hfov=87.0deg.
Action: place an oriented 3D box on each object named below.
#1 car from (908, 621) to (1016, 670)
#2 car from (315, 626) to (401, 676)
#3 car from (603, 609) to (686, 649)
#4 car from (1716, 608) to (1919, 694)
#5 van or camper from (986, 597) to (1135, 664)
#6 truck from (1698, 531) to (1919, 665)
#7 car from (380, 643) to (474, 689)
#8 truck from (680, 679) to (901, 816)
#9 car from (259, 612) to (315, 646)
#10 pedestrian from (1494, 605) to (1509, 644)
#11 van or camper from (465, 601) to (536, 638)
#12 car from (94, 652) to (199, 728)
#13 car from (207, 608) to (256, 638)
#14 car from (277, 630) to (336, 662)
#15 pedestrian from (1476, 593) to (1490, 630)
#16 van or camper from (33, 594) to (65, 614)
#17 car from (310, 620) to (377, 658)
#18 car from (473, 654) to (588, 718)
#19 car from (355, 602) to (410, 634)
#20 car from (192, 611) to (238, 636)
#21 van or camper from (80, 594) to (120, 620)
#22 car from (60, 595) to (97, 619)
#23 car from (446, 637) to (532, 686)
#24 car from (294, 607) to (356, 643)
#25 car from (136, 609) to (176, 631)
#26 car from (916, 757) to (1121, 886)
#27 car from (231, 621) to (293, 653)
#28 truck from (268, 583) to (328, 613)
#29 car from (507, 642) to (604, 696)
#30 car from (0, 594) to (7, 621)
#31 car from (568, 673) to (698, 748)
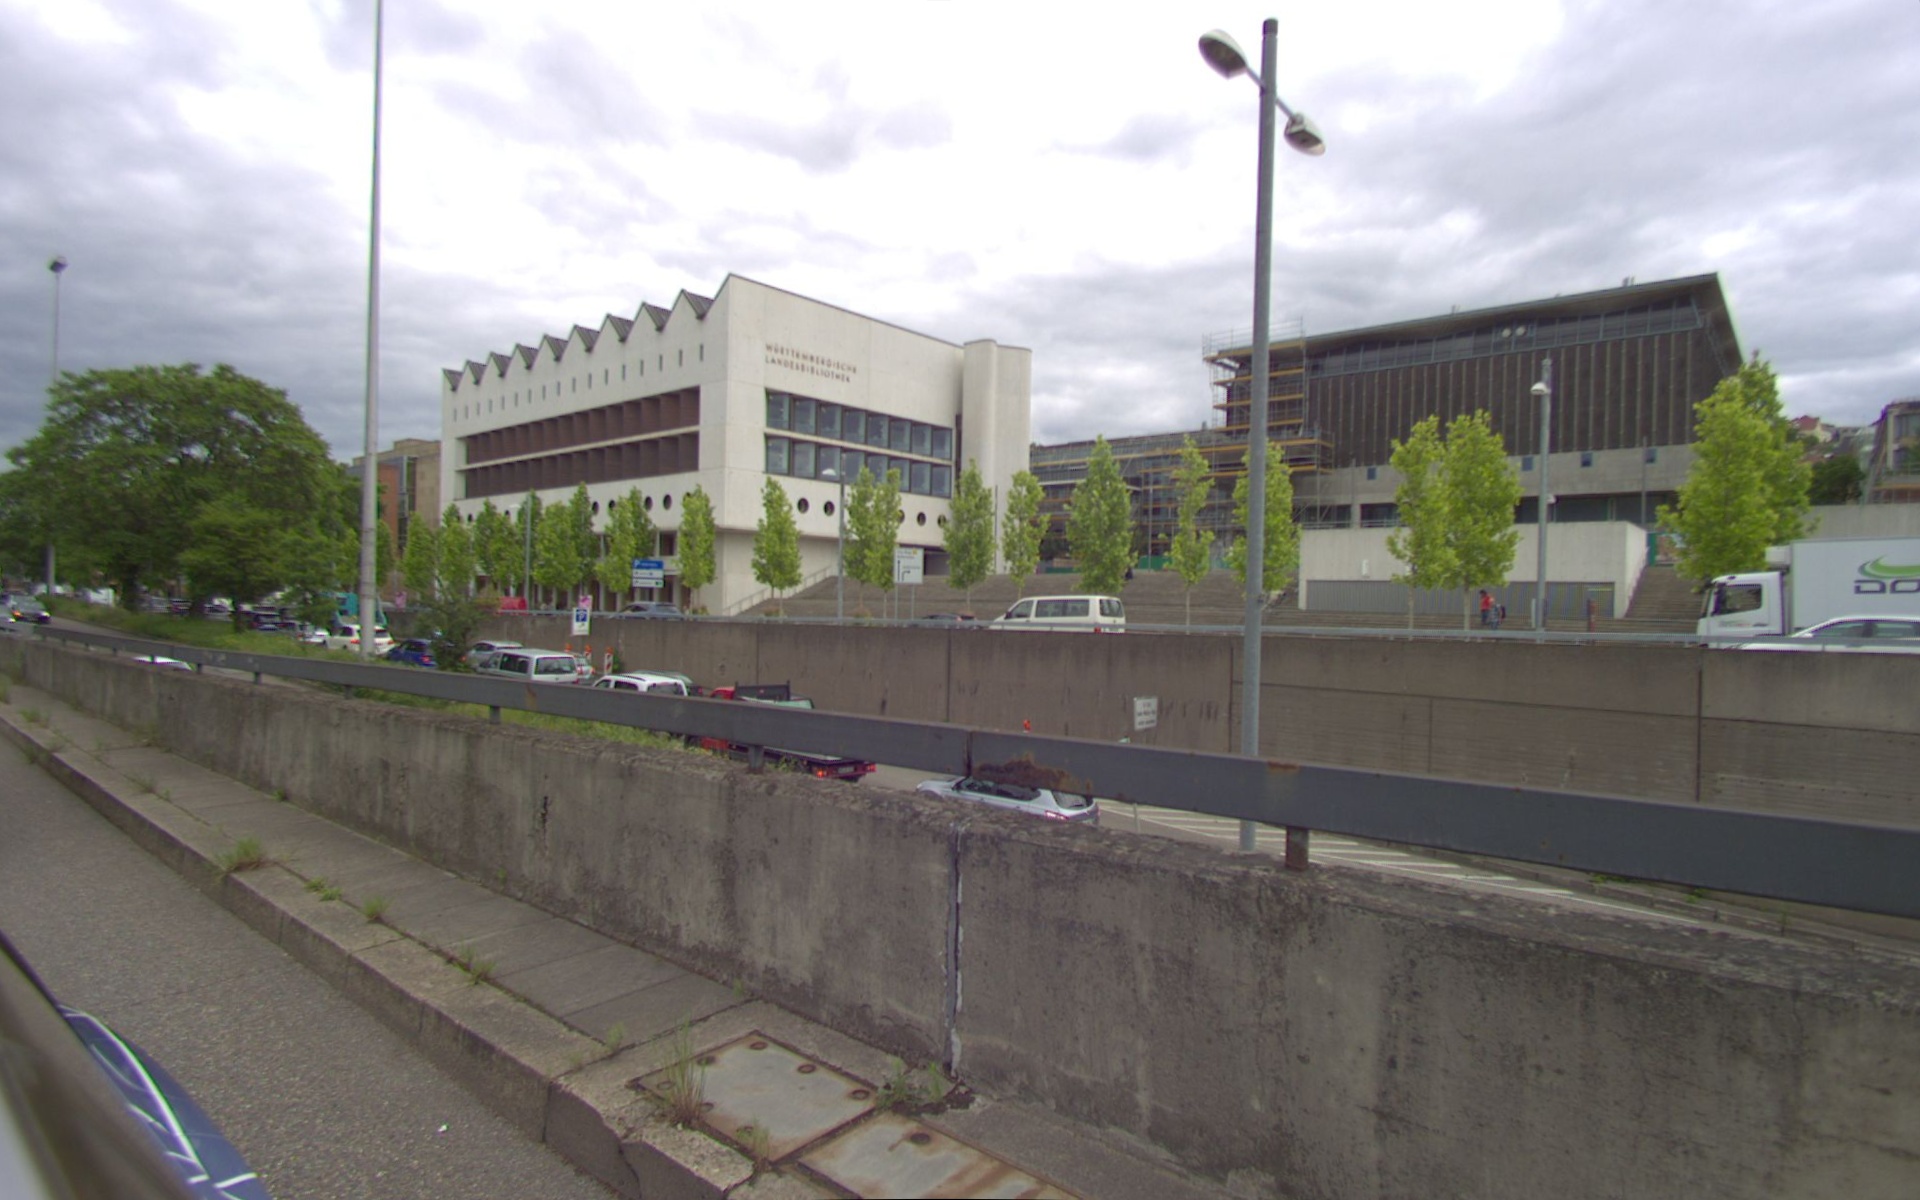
[{"bbox_3d":[0.033,1.780,40.363,3.998,1.829,1.972,-2,-1,42],"label":"car"},{"bbox_3d":[-27.854,2.334,46.759,4.850,2.148,1.972,-1,-4,42],"label":"car"},{"bbox_3d":[-15.037,1.361,48.166,3.998,1.829,1.972,-2,-1,42],"label":"car"},{"bbox_3d":[17.672,0.966,19.946,4.270,1.586,1.700,-2,-1,43],"label":"car"},{"bbox_3d":[3.216,0.972,33.046,4.555,2.029,1.972,-2,-1,42],"label":"van or camper"},{"bbox_3d":[21.021,-0.034,22.408,7.251,2.809,3.196,-2,-1,42],"label":"truck"},{"bbox_3d":[-21.761,2.671,41.251,4.280,1.757,1.972,-1,-4,42],"label":"car"},{"bbox_3d":[-4.428,3.552,25.680,5.977,2.711,2.294,-1,-1,42],"label":"truck"},{"bbox_3d":[-43.451,1.882,65.307,3.999,2.029,1.972,-1,-4,42],"label":"car"},{"bbox_3d":[21.485,0.976,40.140,0.461,1.533,0.377,-1,0,35],"label":"pedestrian"},{"bbox_3d":[-26.538,1.134,58.373,4.553,2.029,1.974,-2,-1,40],"label":"van or camper"},{"bbox_3d":[-25.894,2.788,32.173,3.999,2.029,1.973,-1,0,42],"label":"car"},{"bbox_3d":[-52.225,1.677,72.535,3.999,2.029,1.972,-1,-4,42],"label":"car"},{"bbox_3d":[-33.135,2.316,51.297,3.360,1.497,1.653,-1,-2,42],"label":"car"},{"bbox_3d":[21.595,0.482,41.814,0.461,1.533,0.377,-1,0,35],"label":"pedestrian"},{"bbox_3d":[-93.400,0.395,103.758,3.999,2.029,2.010,-1,-1,42],"label":"van or camper"},{"bbox_3d":[-35.001,2.168,57.424,4.653,2.029,1.972,-1,-1,42],"label":"car"},{"bbox_3d":[-15.086,2.955,35.442,4.331,2.029,1.972,-1,-4,42],"label":"car"},{"bbox_3d":[-39.115,1.188,68.494,3.997,2.029,1.973,-1,0,40],"label":"car"},{"bbox_3d":[-46.294,1.438,62.882,3.360,1.497,1.653,-1,-1,42],"label":"car"},{"bbox_3d":[-70.551,0.577,83.012,3.999,2.029,2.010,-1,-1,42],"label":"van or camper"},{"bbox_3d":[-81.159,0.677,93.178,3.999,2.028,1.973,-1,2,42],"label":"car"},{"bbox_3d":[-20.974,2.710,45.044,3.999,2.029,1.972,-1,-4,42],"label":"car"},{"bbox_3d":[-37.739,1.516,60.133,3.999,2.029,1.972,-1,-4,42],"label":"car"},{"bbox_3d":[-57.451,1.422,72.289,3.360,1.497,1.653,-1,-1,42],"label":"car"},{"bbox_3d":[1.139,4.412,20.727,3.925,1.829,1.771,-1,-1,41],"label":"car"},{"bbox_3d":[-38.988,2.028,56.469,3.999,1.672,1.972,-1,-1,42],"label":"car"},{"bbox_3d":[-50.586,-0.127,77.277,5.607,2.174,1.979,-1,-1,36],"label":"truck"},{"bbox_3d":[-16.415,2.756,41.014,3.999,2.029,1.972,-1,-4,42],"label":"car"},{"bbox_3d":[-77.214,0.558,80.246,3.999,2.029,1.972,1,-1,42],"label":"car"},{"bbox_3d":[-10.025,3.307,30.958,3.999,2.029,1.972,-1,-4,42],"label":"car"}]
